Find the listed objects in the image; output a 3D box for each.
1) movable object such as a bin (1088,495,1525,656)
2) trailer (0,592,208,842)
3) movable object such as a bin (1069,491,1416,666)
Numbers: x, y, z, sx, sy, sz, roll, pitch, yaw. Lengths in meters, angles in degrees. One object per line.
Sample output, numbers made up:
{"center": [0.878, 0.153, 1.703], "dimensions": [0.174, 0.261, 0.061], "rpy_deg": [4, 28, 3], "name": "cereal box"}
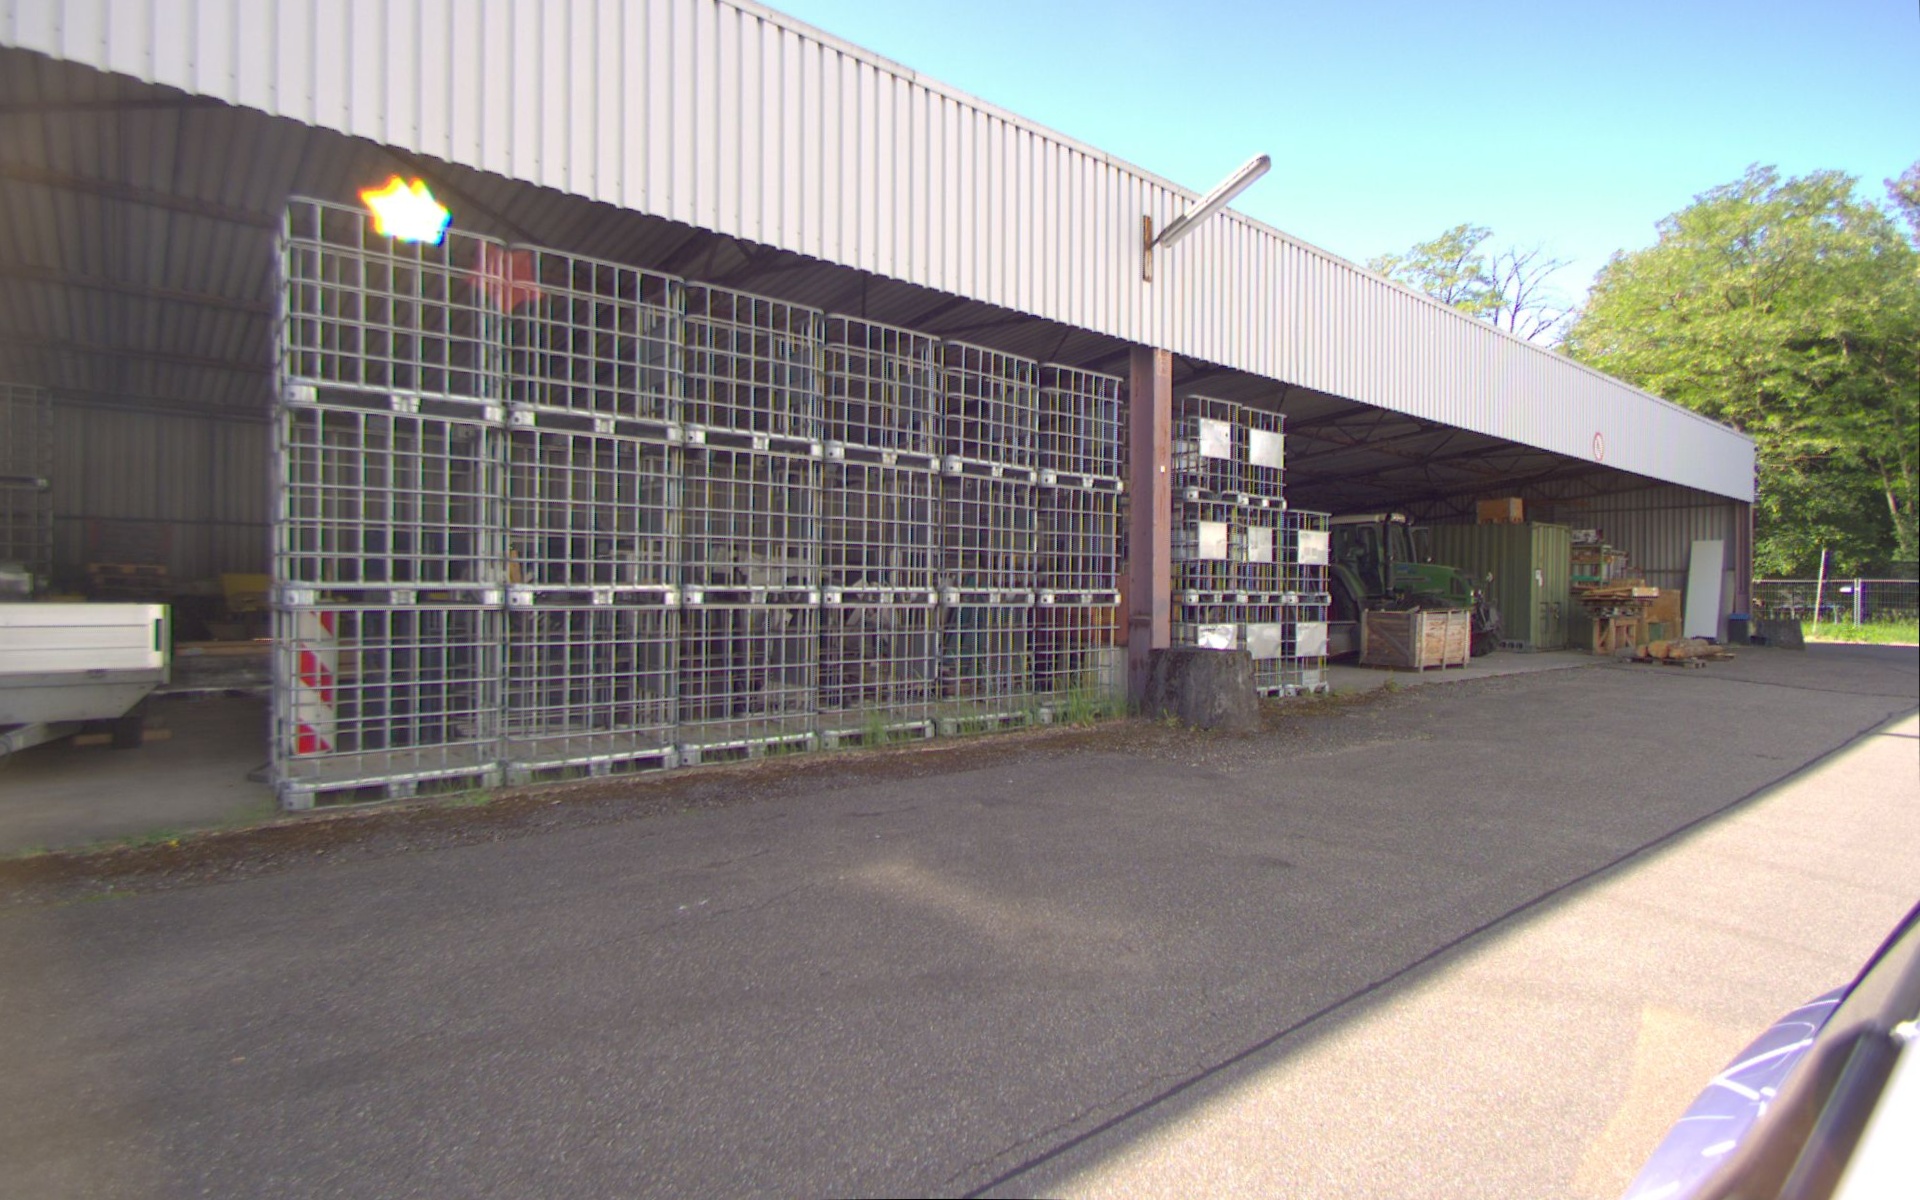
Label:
{"center": [7.364, -0.483, 23.121], "dimensions": [3.154, 2.947, 9.213], "rpy_deg": [0, 0, -39], "name": "movable object such as a bin"}
{"center": [-6.755, 0.549, 6.930], "dimensions": [2.104, 1.147, 5.857], "rpy_deg": [0, 1, -41], "name": "trailer"}
{"center": [5.427, -0.393, 20.373], "dimensions": [2.962, 2.947, 6.199], "rpy_deg": [0, 0, -39], "name": "movable object such as a bin"}
